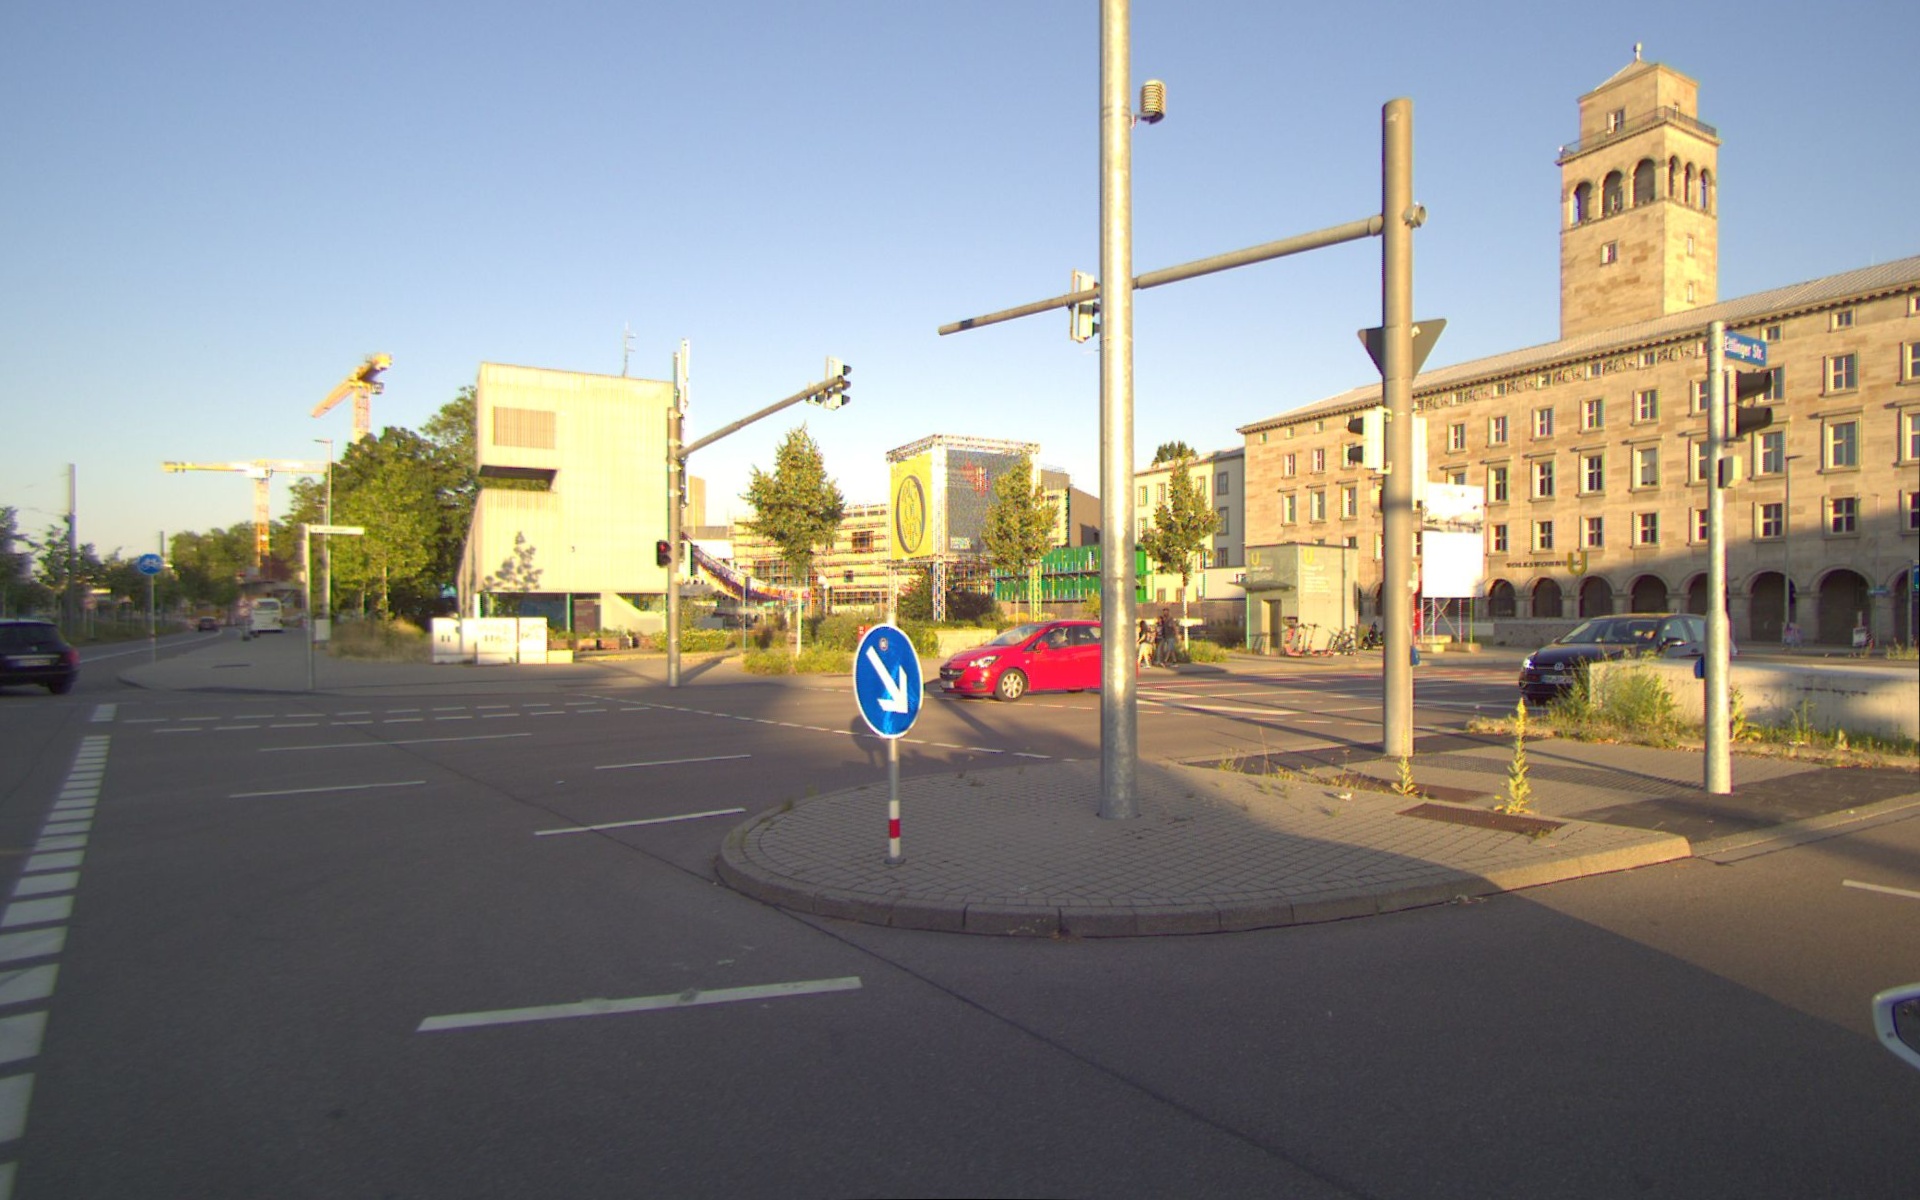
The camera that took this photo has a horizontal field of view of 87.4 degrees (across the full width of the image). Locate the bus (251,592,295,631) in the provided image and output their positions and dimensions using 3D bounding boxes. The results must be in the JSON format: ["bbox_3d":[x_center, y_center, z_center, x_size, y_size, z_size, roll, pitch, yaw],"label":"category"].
[{"bbox_3d":[-69.993,1.203,102.507,3.520,3.764,8.840,0,-1,-33],"label":"bus"}]

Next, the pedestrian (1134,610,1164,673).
[{"bbox_3d":[5.947,1.297,31.572,0.639,1.959,0.657,-1,0,-28],"label":"pedestrian"}]

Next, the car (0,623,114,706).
[{"bbox_3d":[-20.257,1.294,21.209,4.395,1.573,2.071,0,-1,26],"label":"car"}]

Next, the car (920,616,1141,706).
[{"bbox_3d":[1.374,1.109,19.090,3.954,1.546,1.627,0,-3,-31],"label":"car"}]

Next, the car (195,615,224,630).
[{"bbox_3d":[-83.414,2.502,111.630,2.048,1.673,3.970,0,-1,-29],"label":"car"}]

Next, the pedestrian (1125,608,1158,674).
[{"bbox_3d":[5.471,1.227,30.312,0.766,1.959,0.628,-1,1,-28],"label":"pedestrian"}]

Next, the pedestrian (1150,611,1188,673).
[{"bbox_3d":[6.422,1.273,30.882,0.766,1.861,0.868,0,-1,-28],"label":"pedestrian"}]

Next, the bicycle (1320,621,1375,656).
[{"bbox_3d":[15.001,1.482,38.888,2.481,1.341,0.614,1,-1,-31],"label":"bicycle"}]

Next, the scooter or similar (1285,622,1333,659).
[{"bbox_3d":[13.005,1.494,37.507,0.419,1.322,1.819,1,-1,-34],"label":"scooter or similar"}]

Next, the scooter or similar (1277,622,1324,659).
[{"bbox_3d":[12.606,1.494,37.242,0.413,1.322,1.776,1,-1,-34],"label":"scooter or similar"}]

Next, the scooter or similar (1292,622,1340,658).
[{"bbox_3d":[13.366,1.493,37.756,0.419,1.322,1.823,1,-1,-34],"label":"scooter or similar"}]

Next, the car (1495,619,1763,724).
[{"bbox_3d":[10.900,1.061,16.309,4.484,1.485,1.877,0,-1,-30],"label":"car"}]

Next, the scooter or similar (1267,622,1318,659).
[{"bbox_3d":[12.207,1.480,36.932,0.495,1.322,1.846,1,-1,-34],"label":"scooter or similar"}]

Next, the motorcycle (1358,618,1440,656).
[{"bbox_3d":[18.115,1.495,41.582,0.830,1.401,3.217,1,0,-30],"label":"motorcycle"}]
